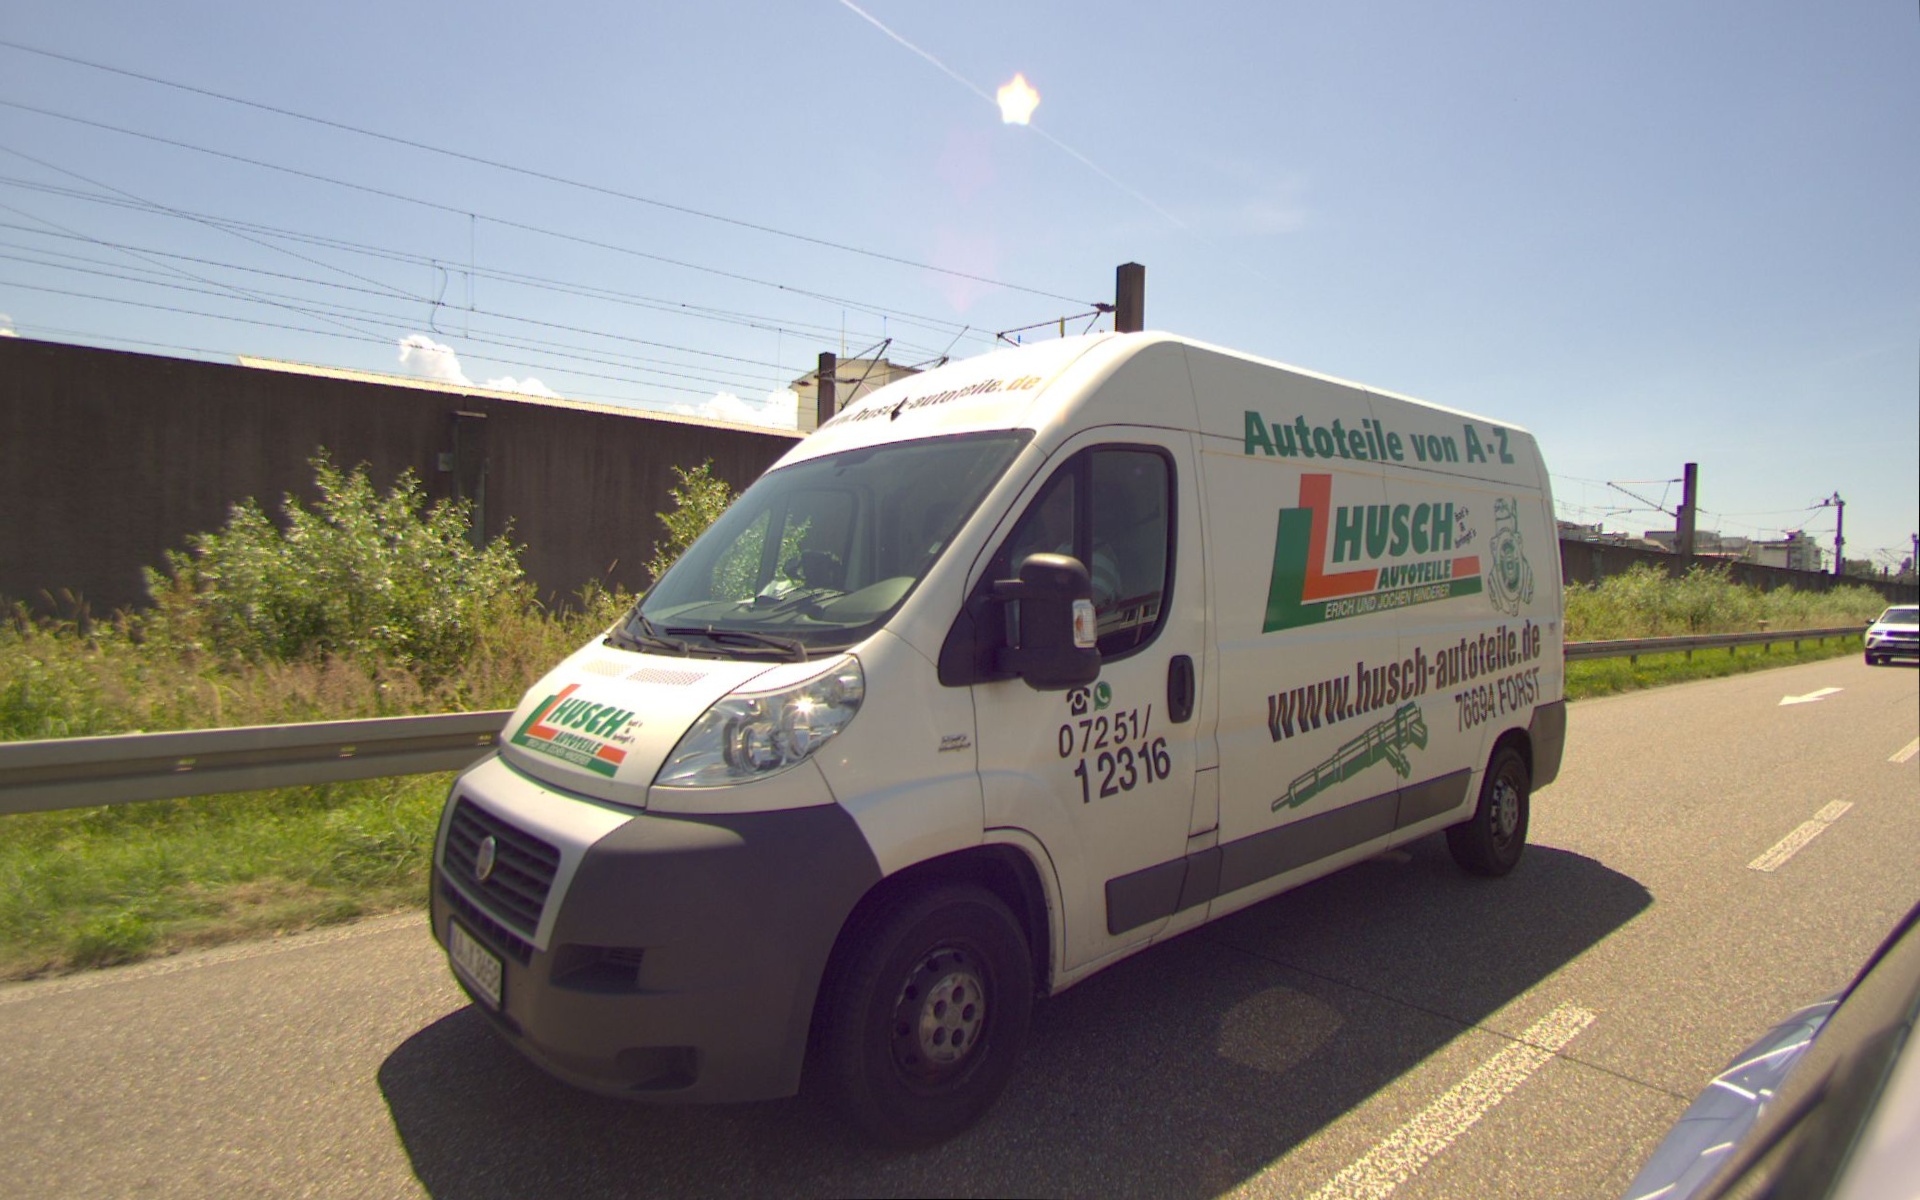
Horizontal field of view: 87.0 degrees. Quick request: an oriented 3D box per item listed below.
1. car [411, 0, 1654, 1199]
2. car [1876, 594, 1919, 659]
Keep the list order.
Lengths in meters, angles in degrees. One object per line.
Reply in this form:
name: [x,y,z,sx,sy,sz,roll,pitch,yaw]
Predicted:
car: [1.200,0.020,5.068,6.632,2.637,2.192,0,0,-41]
car: [25.064,0.655,26.098,4.206,1.583,1.820,0,1,-43]
